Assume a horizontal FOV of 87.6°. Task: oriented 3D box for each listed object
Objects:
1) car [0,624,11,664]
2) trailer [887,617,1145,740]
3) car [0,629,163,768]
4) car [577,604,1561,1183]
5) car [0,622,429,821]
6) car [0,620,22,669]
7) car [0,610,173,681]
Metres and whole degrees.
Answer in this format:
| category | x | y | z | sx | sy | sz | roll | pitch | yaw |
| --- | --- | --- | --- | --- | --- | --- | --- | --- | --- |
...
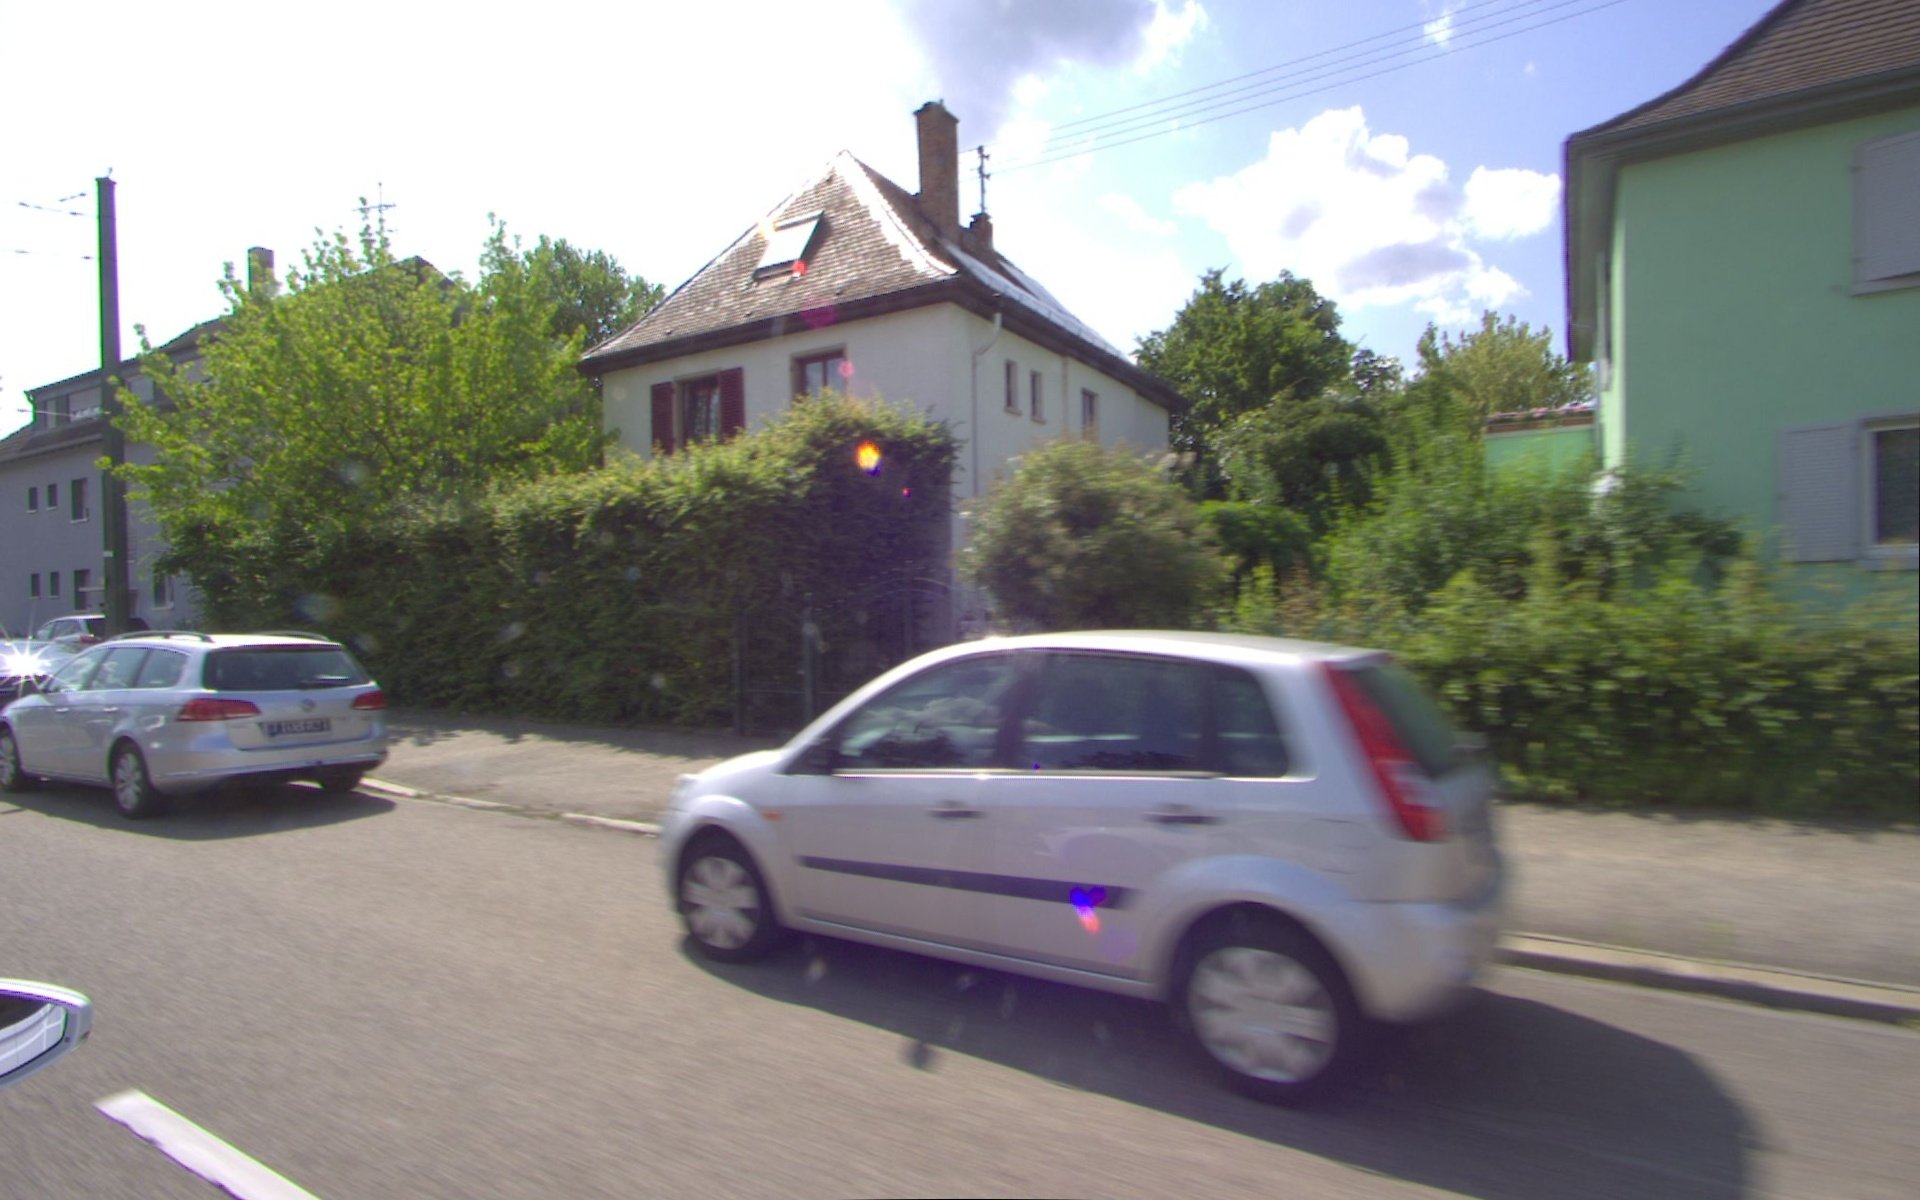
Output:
| category | x | y | z | sx | sy | sz | roll | pitch | yaw |
| --- | --- | --- | --- | --- | --- | --- | --- | --- | --- |
| car | -35.321 | 1.551 | 34.391 | 1.700 | 1.398 | 3.648 | -2 | -2 | 27 |
| trailer | 0.933 | 0.930 | 13.558 | 1.650 | 1.344 | 4.238 | -1 | 0 | 32 |
| car | -12.005 | 1.084 | 12.277 | 4.984 | 1.462 | 1.897 | -1 | -2 | 31 |
| car | 0.291 | 0.853 | 4.478 | 4.038 | 1.508 | 1.734 | -2 | -3 | 34 |
| car | -7.407 | 0.998 | 9.528 | 4.933 | 1.473 | 1.888 | -2 | -3 | 31 |
| car | -30.872 | 1.362 | 30.673 | 4.784 | 1.442 | 1.796 | -1 | 0 | 30 |
| car | -22.431 | 1.134 | 25.664 | 4.695 | 1.668 | 1.755 | -1 | 0 | 28 |
